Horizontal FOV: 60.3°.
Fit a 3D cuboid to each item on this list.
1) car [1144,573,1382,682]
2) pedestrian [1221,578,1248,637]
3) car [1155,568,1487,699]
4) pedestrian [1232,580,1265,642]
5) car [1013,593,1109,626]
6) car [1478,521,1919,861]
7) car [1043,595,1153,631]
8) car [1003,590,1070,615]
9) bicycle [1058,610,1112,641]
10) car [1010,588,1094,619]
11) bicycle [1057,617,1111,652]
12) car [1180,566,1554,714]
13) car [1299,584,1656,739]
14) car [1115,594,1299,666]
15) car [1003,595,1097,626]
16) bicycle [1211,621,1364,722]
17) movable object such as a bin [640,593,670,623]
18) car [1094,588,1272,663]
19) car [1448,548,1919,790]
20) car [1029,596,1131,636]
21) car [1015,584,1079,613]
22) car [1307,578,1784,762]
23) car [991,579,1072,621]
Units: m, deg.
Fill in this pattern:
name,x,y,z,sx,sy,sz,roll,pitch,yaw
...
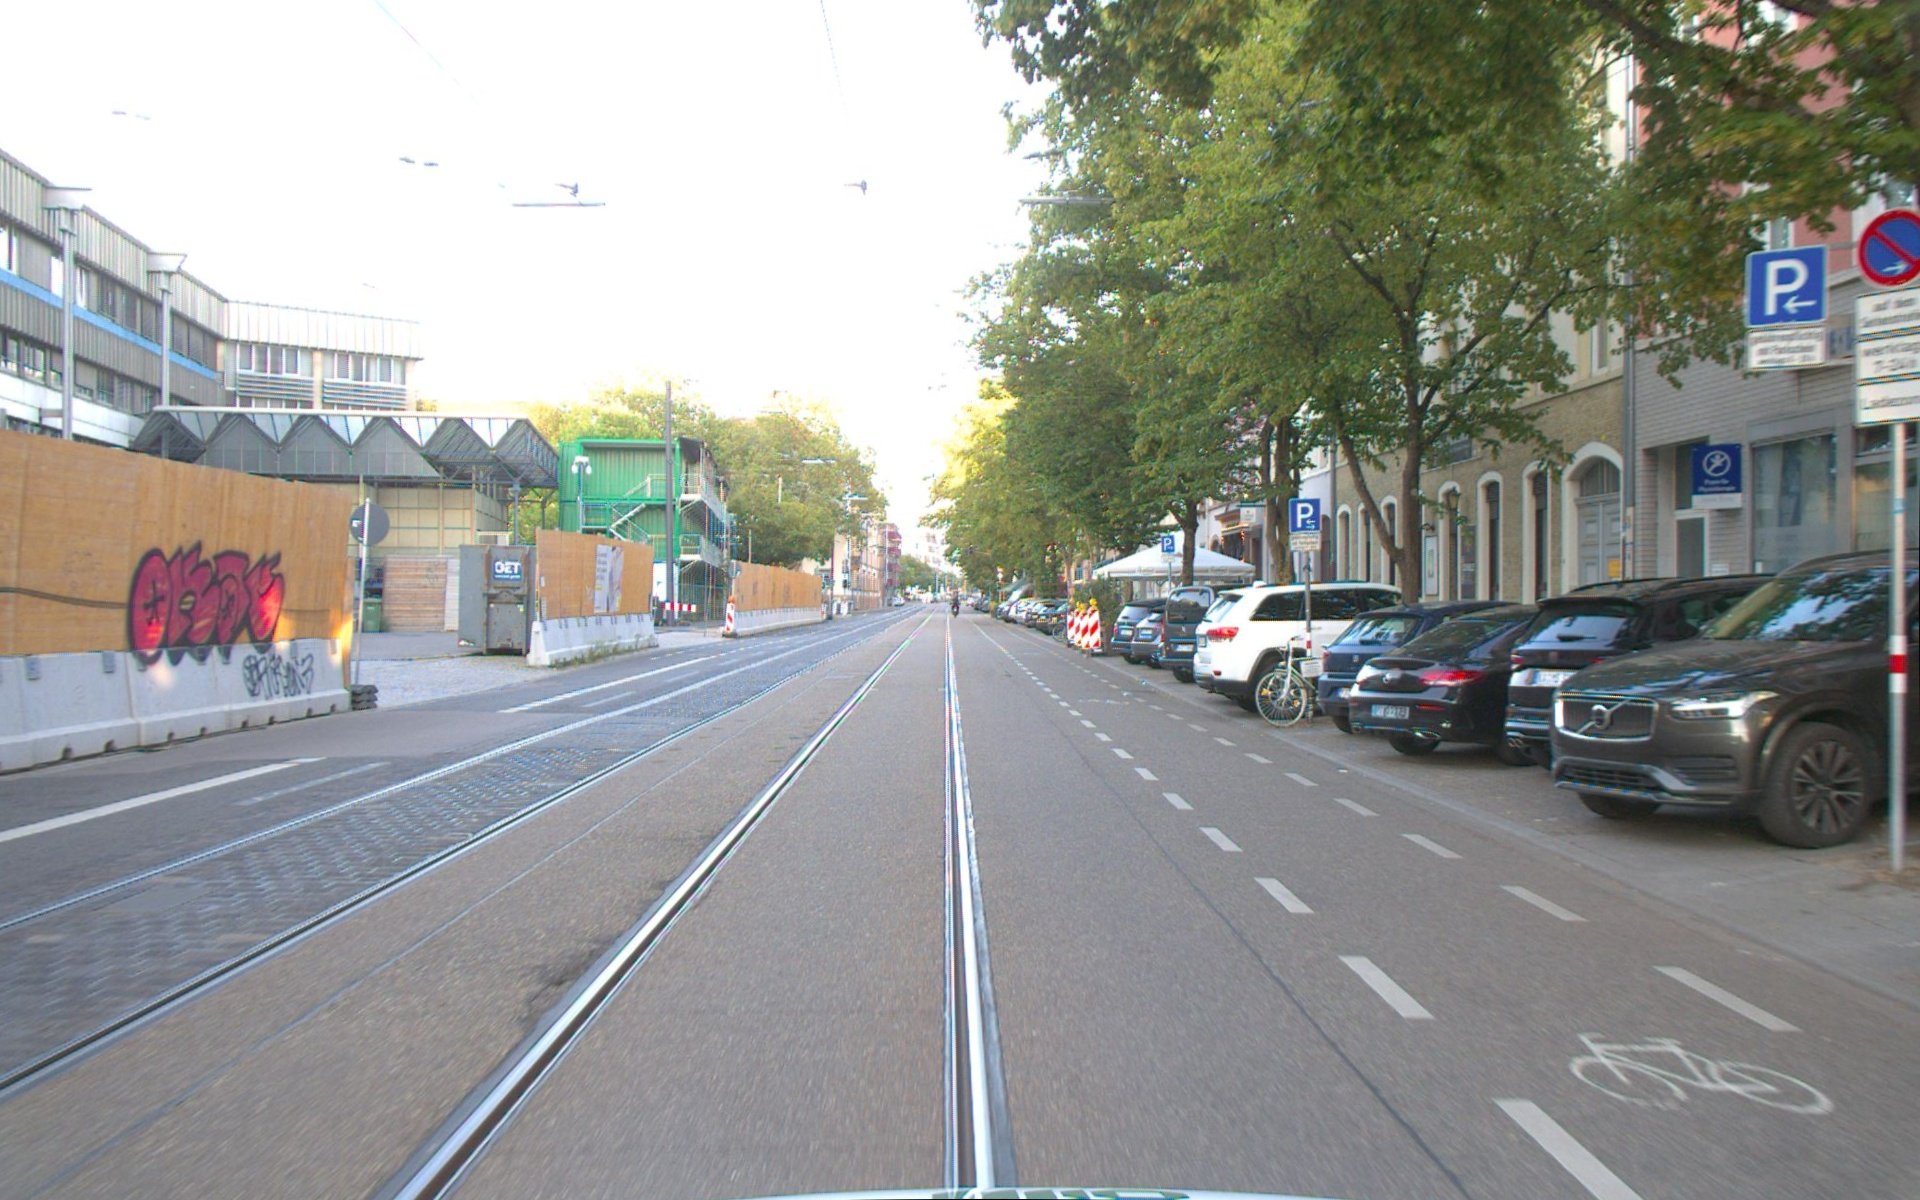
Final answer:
name,x,y,z,sx,sy,sz,roll,pitch,yaw
car,5.745,0.486,31.338,4.102,1.838,1.988,-2,0,-29
pedestrian,8.409,0.239,50.713,0.541,1.794,0.850,0,0,-13
car,5.480,0.485,25.468,4.558,1.717,2.006,-3,0,-5
pedestrian,8.475,0.325,48.589,0.694,1.794,0.708,0,0,-30
car,4.706,0.425,77.326,4.063,1.496,2.000,0,0,-25
car,6.253,0.421,11.157,4.889,1.858,2.196,-3,0,-19
car,5.639,0.513,67.586,4.099,1.451,1.813,0,0,-20
car,4.994,0.161,107.311,3.900,1.512,1.906,-1,-1,-25
bicycle,4.565,0.934,60.581,1.865,1.049,0.533,-3,0,-3
car,4.996,0.199,90.016,4.175,1.576,2.014,-2,0,-11
bicycle,4.030,1.111,53.647,1.645,1.049,0.556,-3,0,-2
car,5.463,0.514,22.631,4.555,1.717,2.007,-3,0,-2
car,5.923,0.650,18.918,3.700,1.451,1.713,-3,0,-25
car,5.498,0.647,36.786,3.726,1.432,1.692,-2,0,-26
car,4.451,0.537,81.776,4.195,1.416,2.000,-1,0,-24
bicycle,4.087,0.875,20.658,1.805,1.122,0.496,-3,1,-15
movable object such as a bin,-13.908,0.361,75.481,1.280,1.393,0.783,0,0,-4
car,5.303,0.588,39.281,3.913,1.580,1.692,-2,0,-26
car,6.506,0.489,14.020,4.149,1.677,1.965,-3,0,-19
car,5.247,0.683,72.442,4.053,1.496,1.814,-3,0,-18
car,5.434,-0.076,103.454,3.869,1.648,1.921,-2,-1,0
car,5.719,0.611,16.185,4.155,1.451,1.962,-3,0,-23
car,4.833,-0.001,111.997,5.015,2.689,2.012,-2,-1,-18
